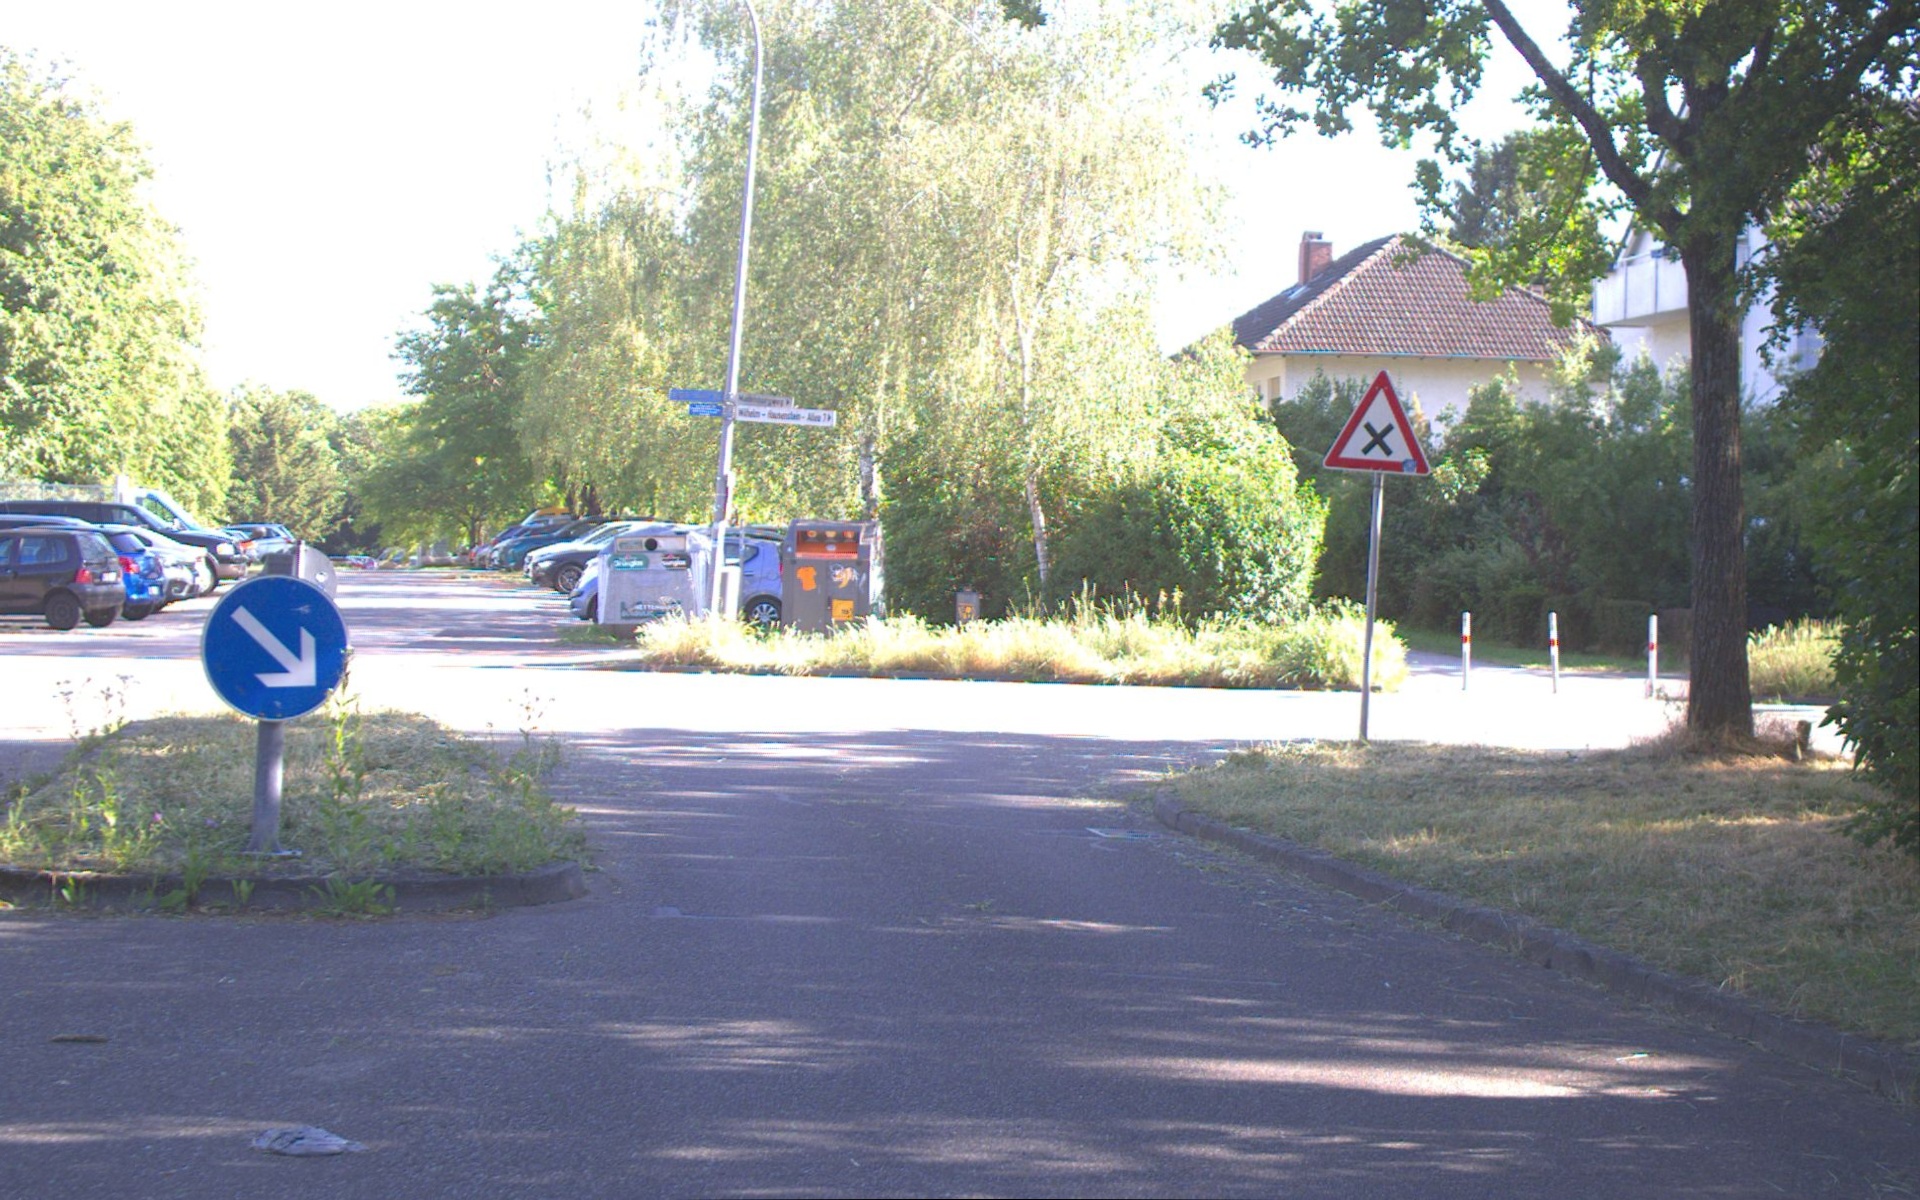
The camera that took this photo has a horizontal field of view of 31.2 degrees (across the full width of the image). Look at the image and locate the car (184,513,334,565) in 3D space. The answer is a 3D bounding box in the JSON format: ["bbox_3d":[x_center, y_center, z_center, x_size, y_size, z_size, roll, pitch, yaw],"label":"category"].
[{"bbox_3d":[-19.225,-1.689,94.400,3.938,1.329,1.848,1,1,-9],"label":"car"}]

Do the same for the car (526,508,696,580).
[{"bbox_3d":[-8.372,-1.334,82.568,3.986,1.580,1.798,2,0,-5],"label":"car"}]

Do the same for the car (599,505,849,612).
[{"bbox_3d":[-4.197,-0.747,60.915,4.102,1.700,1.792,2,2,-15],"label":"car"}]

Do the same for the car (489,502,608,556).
[{"bbox_3d":[-14.226,-2.456,119.059,3.986,1.702,1.798,2,0,-5],"label":"car"}]

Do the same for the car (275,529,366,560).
[{"bbox_3d":[-26.695,-2.330,143.598,3.643,1.208,1.848,1,1,-9],"label":"car"}]

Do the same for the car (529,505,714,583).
[{"bbox_3d":[-7.513,-1.236,76.299,3.986,1.580,1.798,2,0,-5],"label":"car"}]

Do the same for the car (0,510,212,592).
[{"bbox_3d":[-15.516,-0.876,61.475,4.142,1.450,1.620,0,1,-11],"label":"car"}]

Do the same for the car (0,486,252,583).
[{"bbox_3d":[-16.274,-1.282,67.249,4.522,1.765,1.847,1,1,-4],"label":"car"}]

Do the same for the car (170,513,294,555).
[{"bbox_3d":[-24.245,-2.201,114.618,3.938,1.329,1.848,1,1,-9],"label":"car"}]

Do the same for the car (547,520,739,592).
[{"bbox_3d":[-6.770,-0.942,73.513,3.986,1.396,1.798,2,0,-5],"label":"car"}]

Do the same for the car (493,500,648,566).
[{"bbox_3d":[-10.257,-1.765,90.775,3.986,1.580,1.798,2,0,-5],"label":"car"}]

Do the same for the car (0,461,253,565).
[{"bbox_3d":[-18.869,-1.933,76.016,6.254,2.139,2.412,1,1,-10],"label":"car"}]

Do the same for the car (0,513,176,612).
[{"bbox_3d":[-14.259,-0.603,53.548,3.680,1.491,1.651,1,1,4],"label":"car"}]

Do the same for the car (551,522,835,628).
[{"bbox_3d":[-4.049,-0.390,52.468,4.053,1.434,1.634,2,1,4],"label":"car"}]

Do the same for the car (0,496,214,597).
[{"bbox_3d":[-15.135,-0.913,57.469,4.991,1.649,1.785,0,1,-3],"label":"car"}]

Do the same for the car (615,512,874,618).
[{"bbox_3d":[-3.653,-0.600,58.087,4.051,1.597,1.792,2,2,-14],"label":"car"}]

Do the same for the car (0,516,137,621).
[{"bbox_3d":[-14.237,-0.503,51.011,3.523,1.461,1.703,2,2,8],"label":"car"}]
